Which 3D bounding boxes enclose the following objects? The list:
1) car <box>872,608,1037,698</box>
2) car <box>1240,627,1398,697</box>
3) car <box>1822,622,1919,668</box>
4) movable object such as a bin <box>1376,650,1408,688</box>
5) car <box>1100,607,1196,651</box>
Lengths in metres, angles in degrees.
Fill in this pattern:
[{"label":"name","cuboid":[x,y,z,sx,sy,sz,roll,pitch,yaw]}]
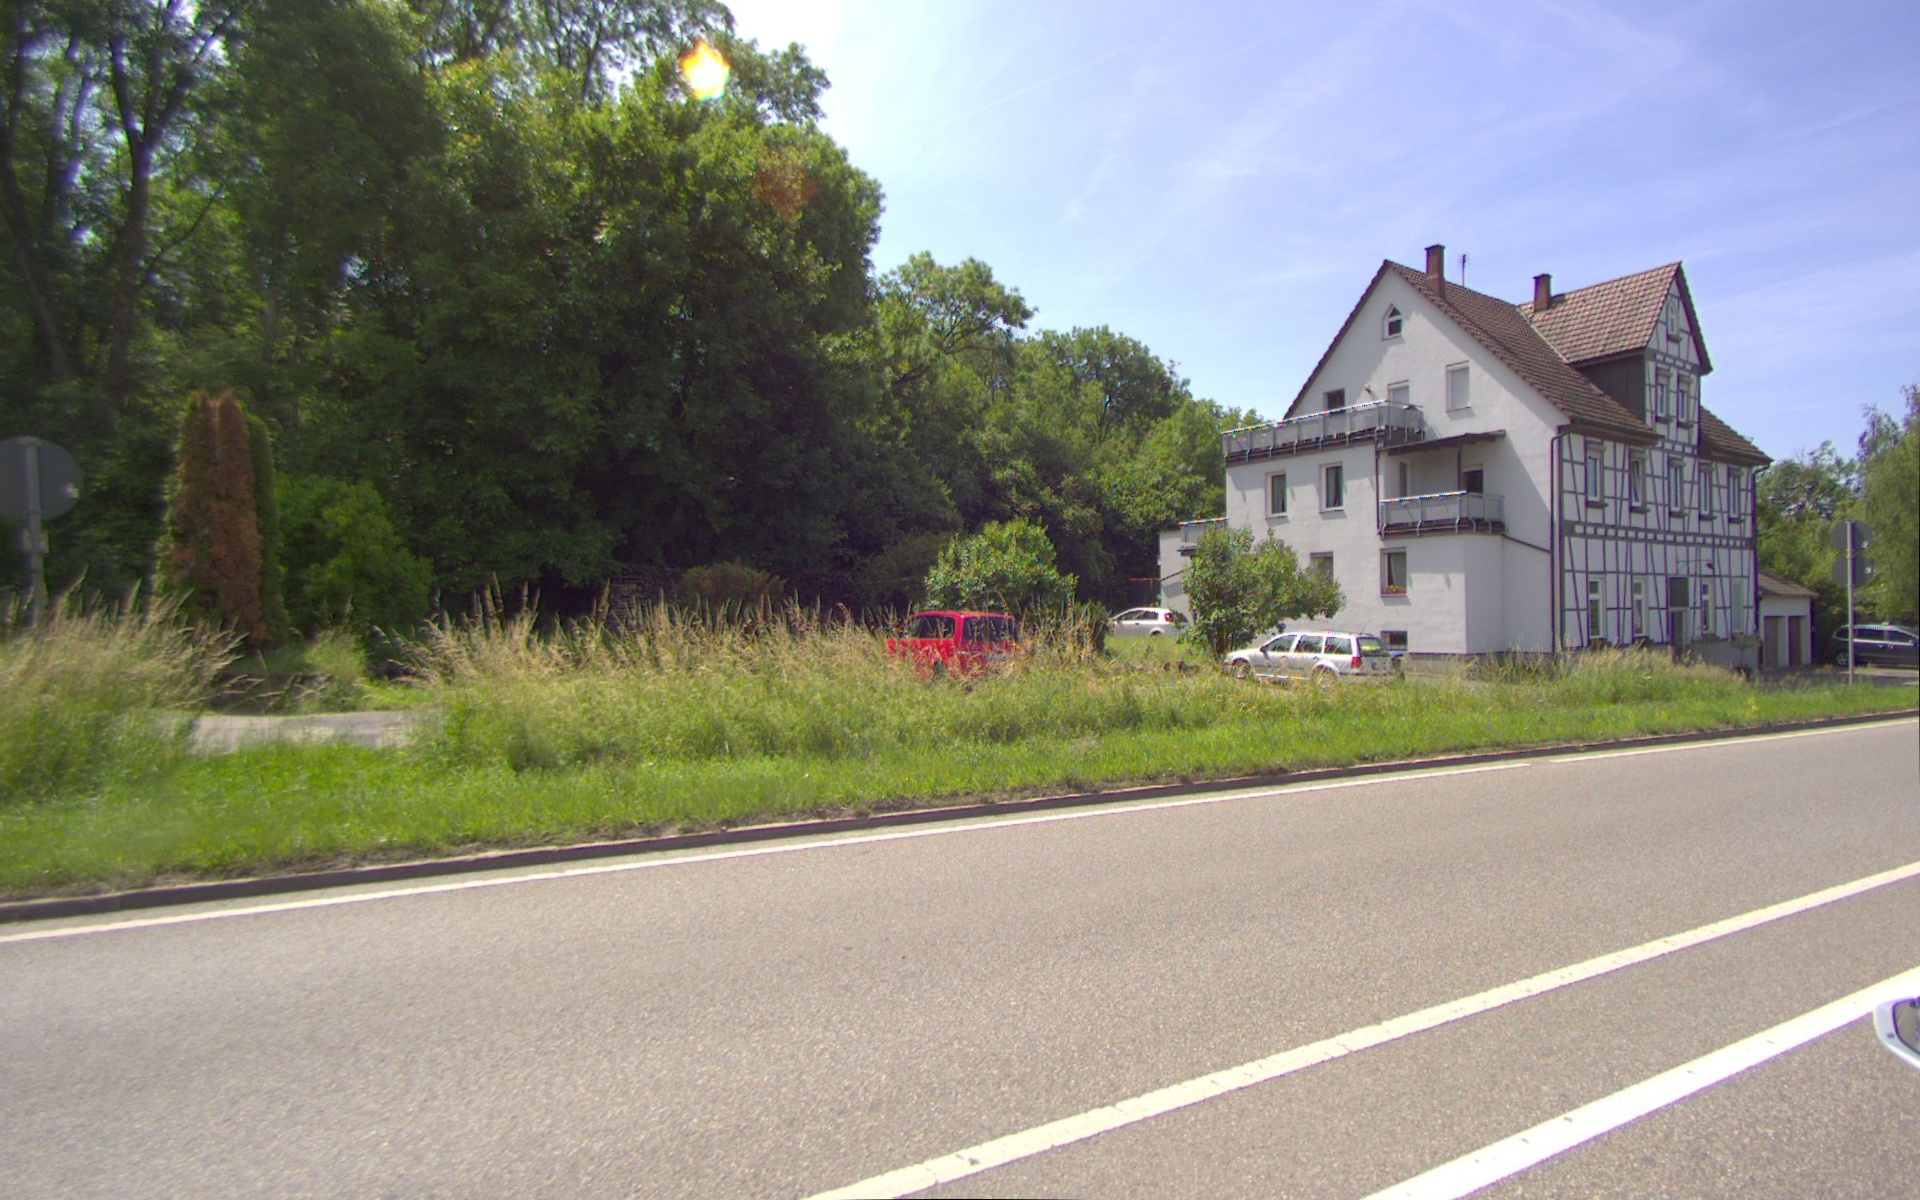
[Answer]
[{"label":"car","cuboid":[-0.225,1.022,20.925,1.810,1.640,4.012,1,0,-27]},{"label":"car","cuboid":[8.737,1.463,24.650,1.594,1.485,3.355,1,0,-34]},{"label":"car","cuboid":[39.074,1.859,41.749,1.841,1.743,4.637,-2,1,-32]},{"label":"movable object such as a bin","cuboid":[11.259,1.797,26.188,0.648,0.948,0.500,2,-1,-37]},{"label":"car","cuboid":[7.255,1.094,38.978,1.659,1.466,3.346,1,2,-41]}]
